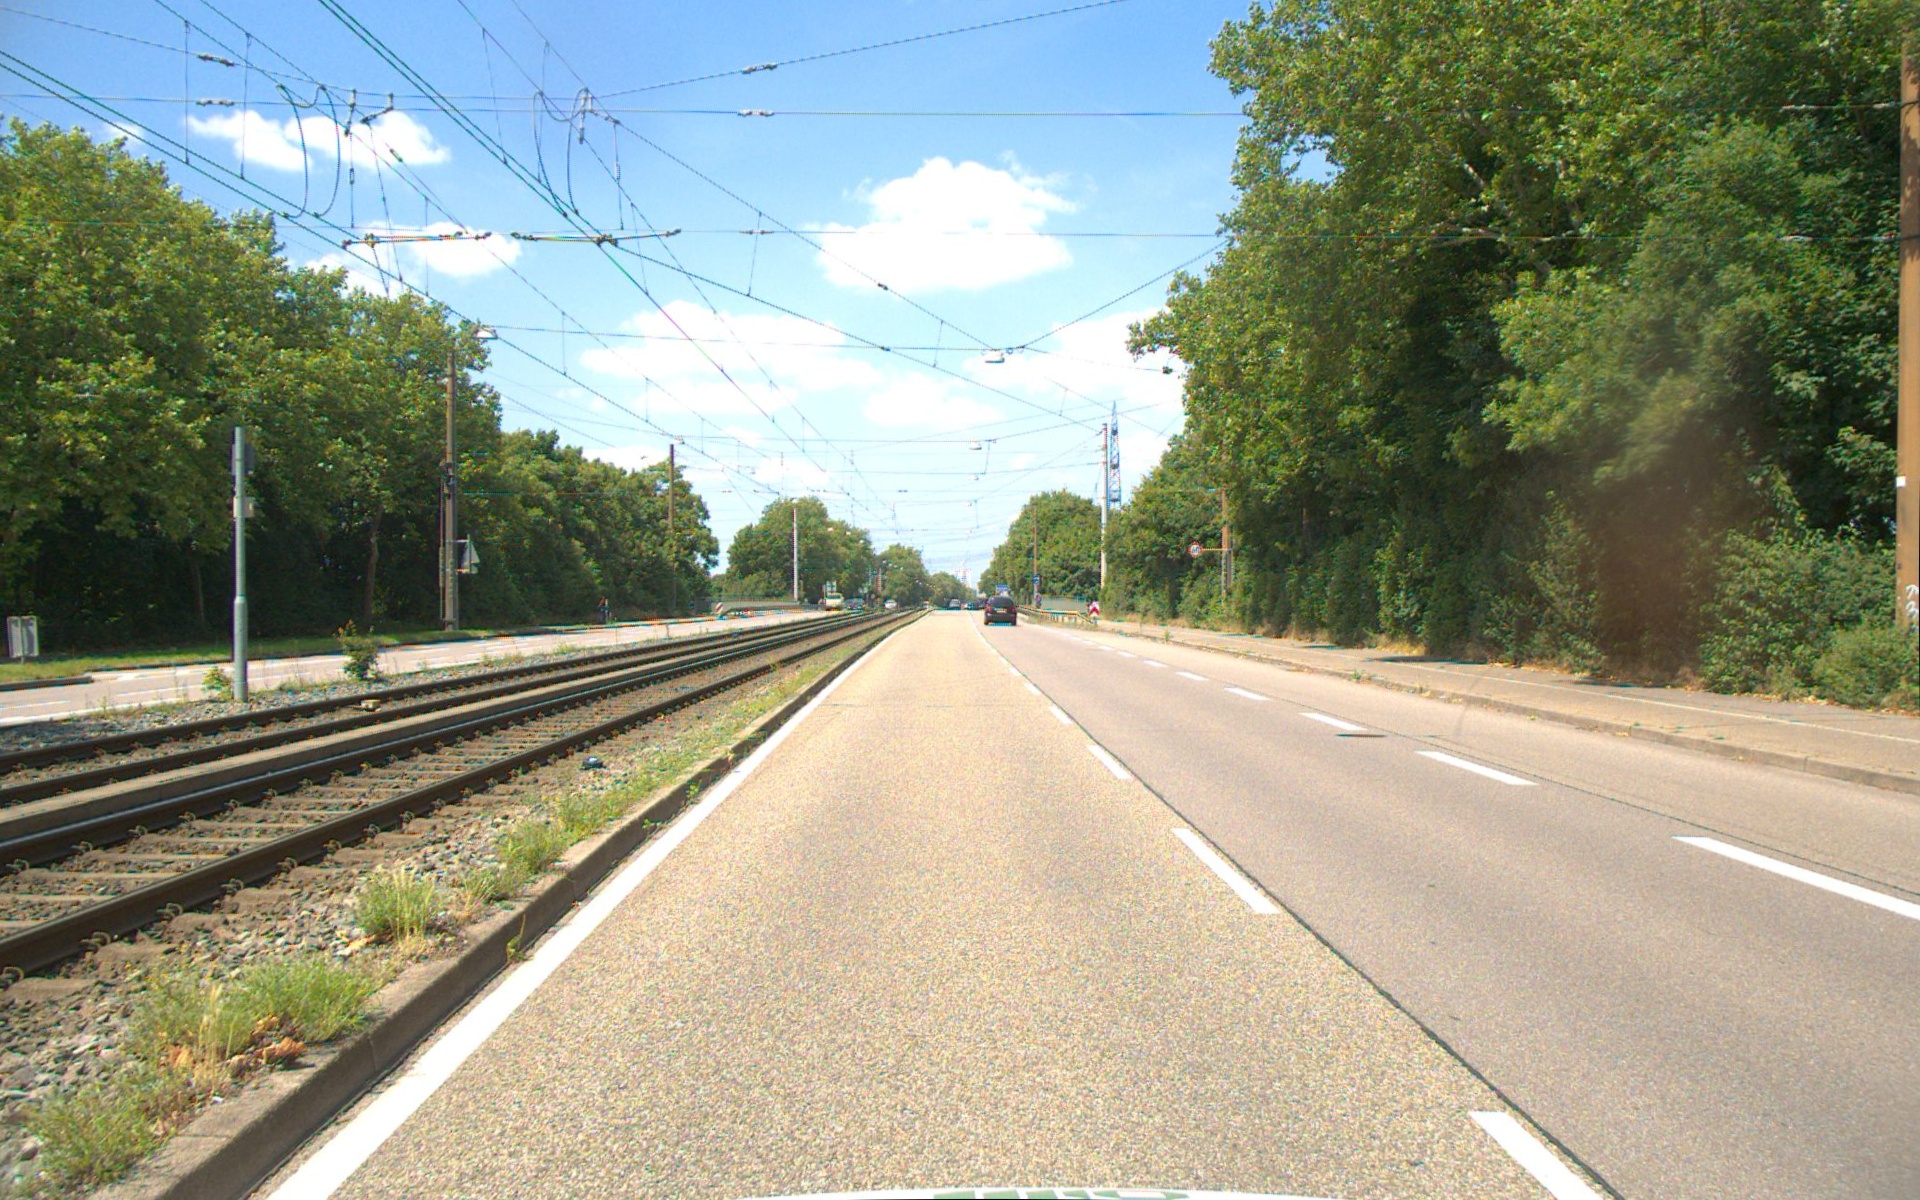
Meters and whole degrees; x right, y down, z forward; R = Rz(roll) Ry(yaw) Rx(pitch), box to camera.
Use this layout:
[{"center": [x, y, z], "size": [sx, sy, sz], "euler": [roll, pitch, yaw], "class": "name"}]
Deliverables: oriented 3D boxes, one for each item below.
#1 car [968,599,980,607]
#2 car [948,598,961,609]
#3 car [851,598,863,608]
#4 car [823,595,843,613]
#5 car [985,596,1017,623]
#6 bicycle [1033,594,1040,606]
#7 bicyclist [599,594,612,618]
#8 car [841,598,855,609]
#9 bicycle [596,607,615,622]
[{"center": [1.837, 0.433, 215.340], "size": [1.402, 1.048, 3.370], "euler": [1, 0, -1], "class": "car"}, {"center": [-0.912, 0.566, 256.826], "size": [1.953, 1.557, 3.999], "euler": [1, 0, -1], "class": "car"}, {"center": [-14.660, 0.450, 235.130], "size": [1.542, 1.424, 3.937], "euler": [-1, 0, 0], "class": "car"}, {"center": [-14.162, 0.457, 184.260], "size": [1.774, 1.959, 5.179], "euler": [-1, 0, 0], "class": "car"}, {"center": [2.225, 0.506, 90.340], "size": [1.554, 1.366, 3.271], "euler": [-1, 0, -2], "class": "car"}, {"center": [6.927, -0.024, 150.408], "size": [0.548, 1.042, 1.848], "euler": [-1, -1, 0], "class": "bicycle"}, {"center": [-20.627, 0.367, 96.272], "size": [0.557, 1.391, 0.631], "euler": [1, -1, 1], "class": "bicyclist"}, {"center": [-14.482, 0.479, 214.193], "size": [1.531, 1.371, 3.929], "euler": [-1, 0, 0], "class": "car"}, {"center": [-20.638, 0.855, 96.274], "size": [0.574, 0.833, 2.069], "euler": [-1, 0, 2], "class": "bicycle"}]
